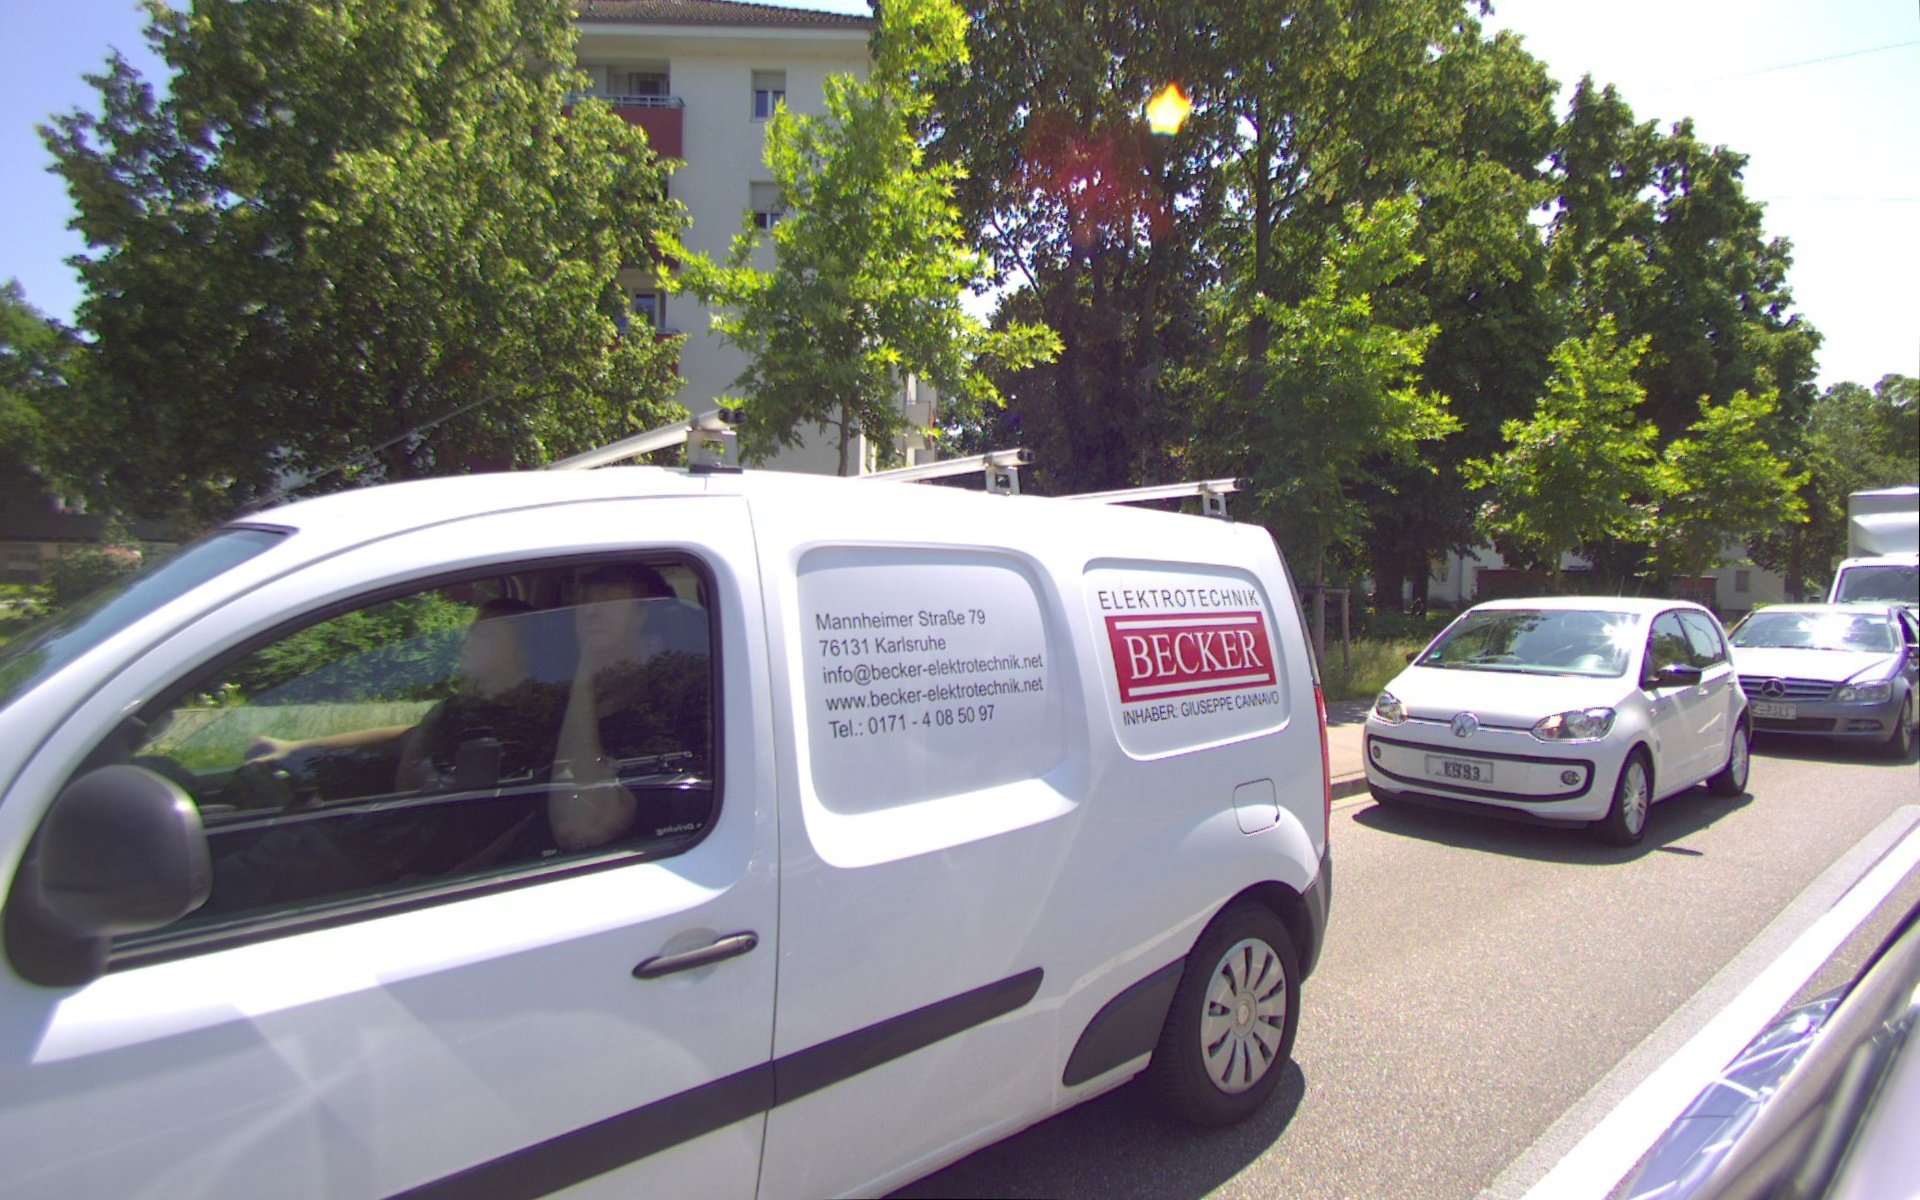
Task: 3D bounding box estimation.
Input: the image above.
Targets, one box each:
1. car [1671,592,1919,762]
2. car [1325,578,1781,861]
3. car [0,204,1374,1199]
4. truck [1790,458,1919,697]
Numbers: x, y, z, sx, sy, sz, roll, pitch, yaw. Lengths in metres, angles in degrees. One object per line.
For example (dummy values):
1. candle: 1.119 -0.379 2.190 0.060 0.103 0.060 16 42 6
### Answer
1. car: 9.231 0.655 10.741 4.016 1.426 1.839 0 1 -41
2. car: 4.398 0.622 7.291 3.705 1.497 1.729 0 1 -41
3. car: -0.995 0.455 2.537 4.370 1.849 1.997 0 1 -41
4. truck: 16.513 -0.337 16.976 7.778 3.387 2.434 0 1 -39
